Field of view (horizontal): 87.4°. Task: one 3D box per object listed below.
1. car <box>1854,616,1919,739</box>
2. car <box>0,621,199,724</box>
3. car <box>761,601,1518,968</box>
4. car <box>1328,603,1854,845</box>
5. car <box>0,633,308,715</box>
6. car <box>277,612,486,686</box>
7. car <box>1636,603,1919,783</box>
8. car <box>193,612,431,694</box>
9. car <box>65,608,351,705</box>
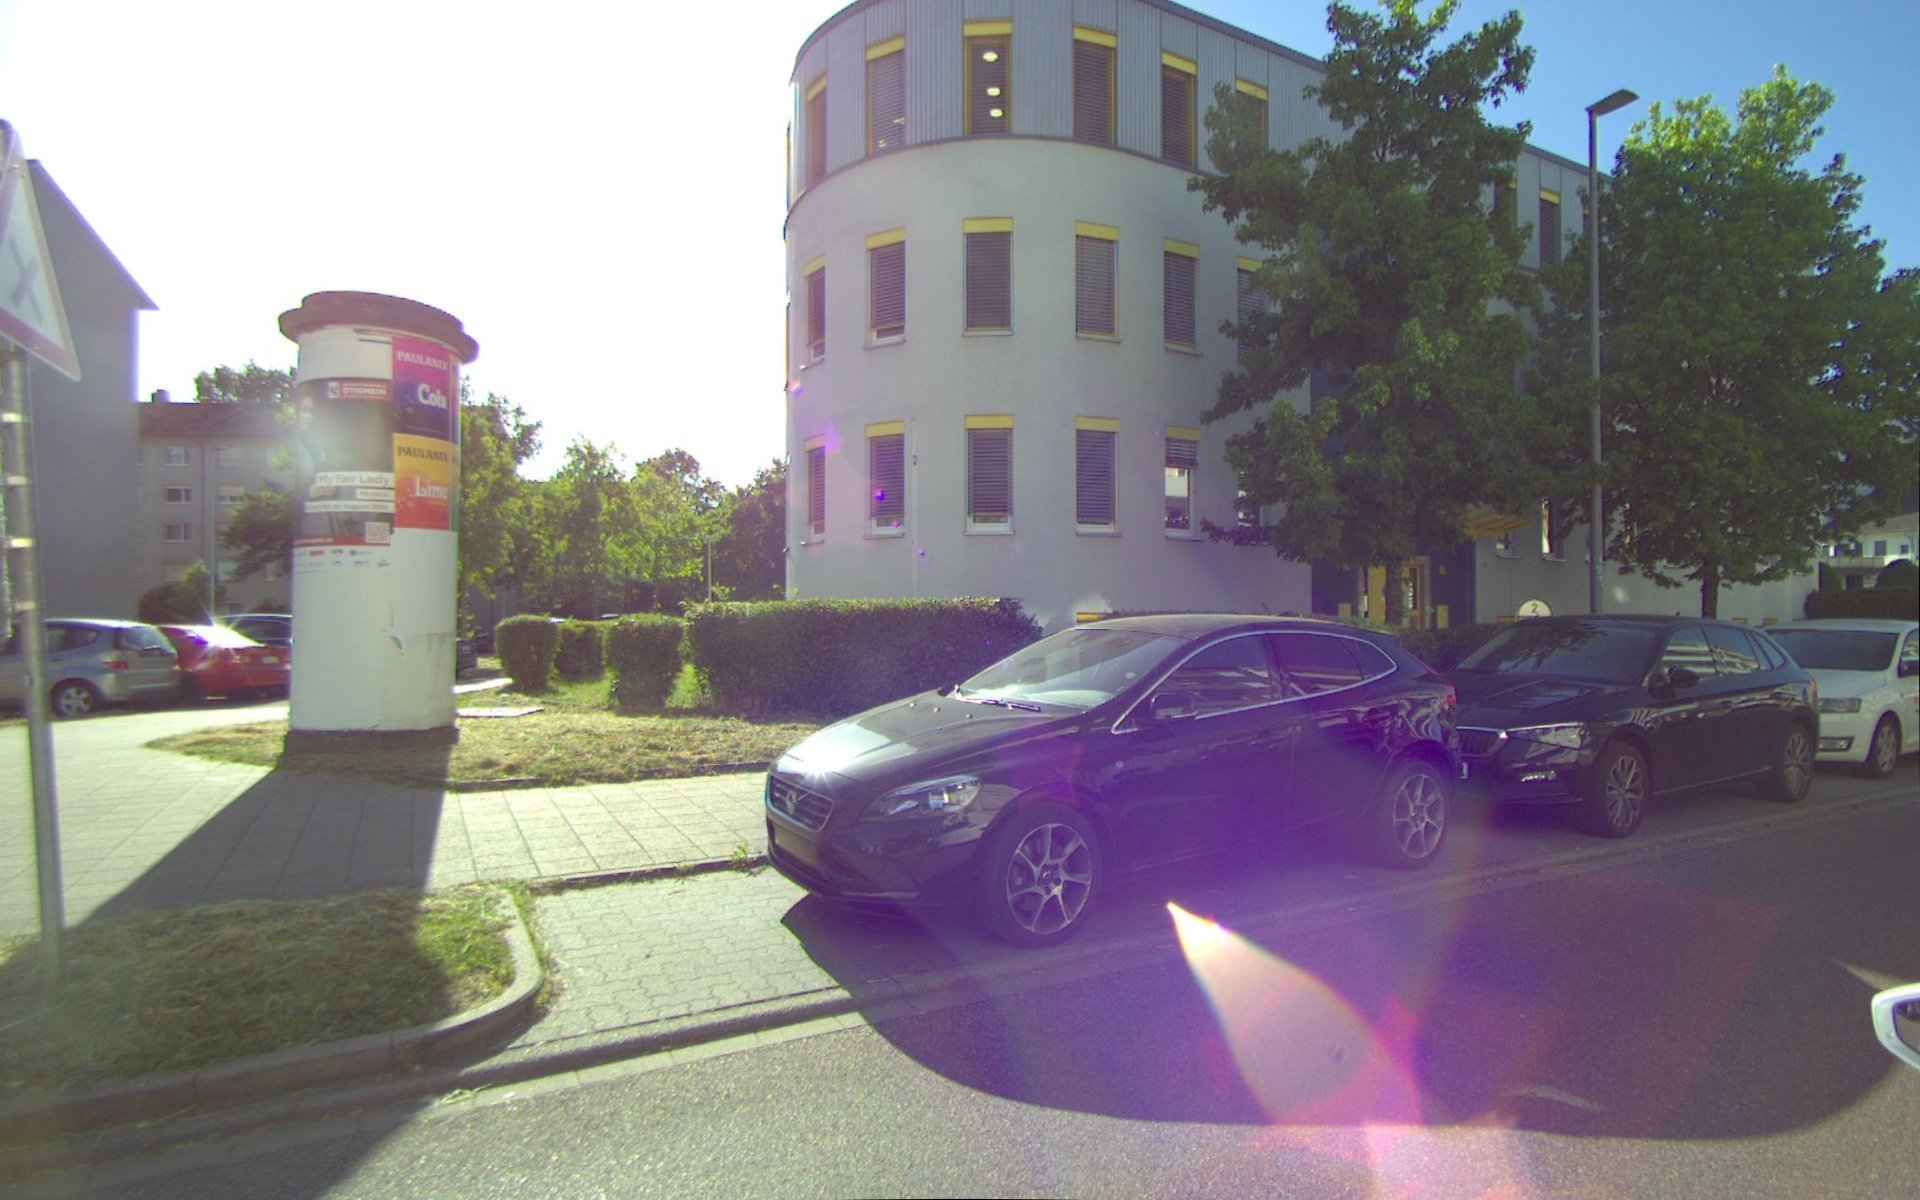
[{"bbox_3d":[13.505,0.935,12.779,4.553,1.458,1.726,1,-1,-28],"label":"car"},{"bbox_3d":[-14.543,1.084,15.551,4.025,1.511,1.727,1,-2,-7],"label":"car"},{"bbox_3d":[1.150,0.752,5.774,4.175,1.429,1.780,1,-1,-31],"label":"car"},{"bbox_3d":[5.203,0.827,8.162,4.330,1.498,1.899,1,-2,-31],"label":"car"},{"bbox_3d":[-14.456,1.259,17.596,4.795,1.291,1.727,0,-2,-8],"label":"car"},{"bbox_3d":[-14.840,1.252,25.989,4.212,1.722,1.999,-1,-2,-6],"label":"car"},{"bbox_3d":[9.359,0.864,10.652,4.572,1.550,1.899,1,-2,-31],"label":"car"},{"bbox_3d":[-15.046,1.221,23.529,4.212,1.722,1.999,-1,-2,-6],"label":"car"},{"bbox_3d":[-15.350,1.155,20.743,4.212,1.788,1.999,2,-2,-6],"label":"car"}]
